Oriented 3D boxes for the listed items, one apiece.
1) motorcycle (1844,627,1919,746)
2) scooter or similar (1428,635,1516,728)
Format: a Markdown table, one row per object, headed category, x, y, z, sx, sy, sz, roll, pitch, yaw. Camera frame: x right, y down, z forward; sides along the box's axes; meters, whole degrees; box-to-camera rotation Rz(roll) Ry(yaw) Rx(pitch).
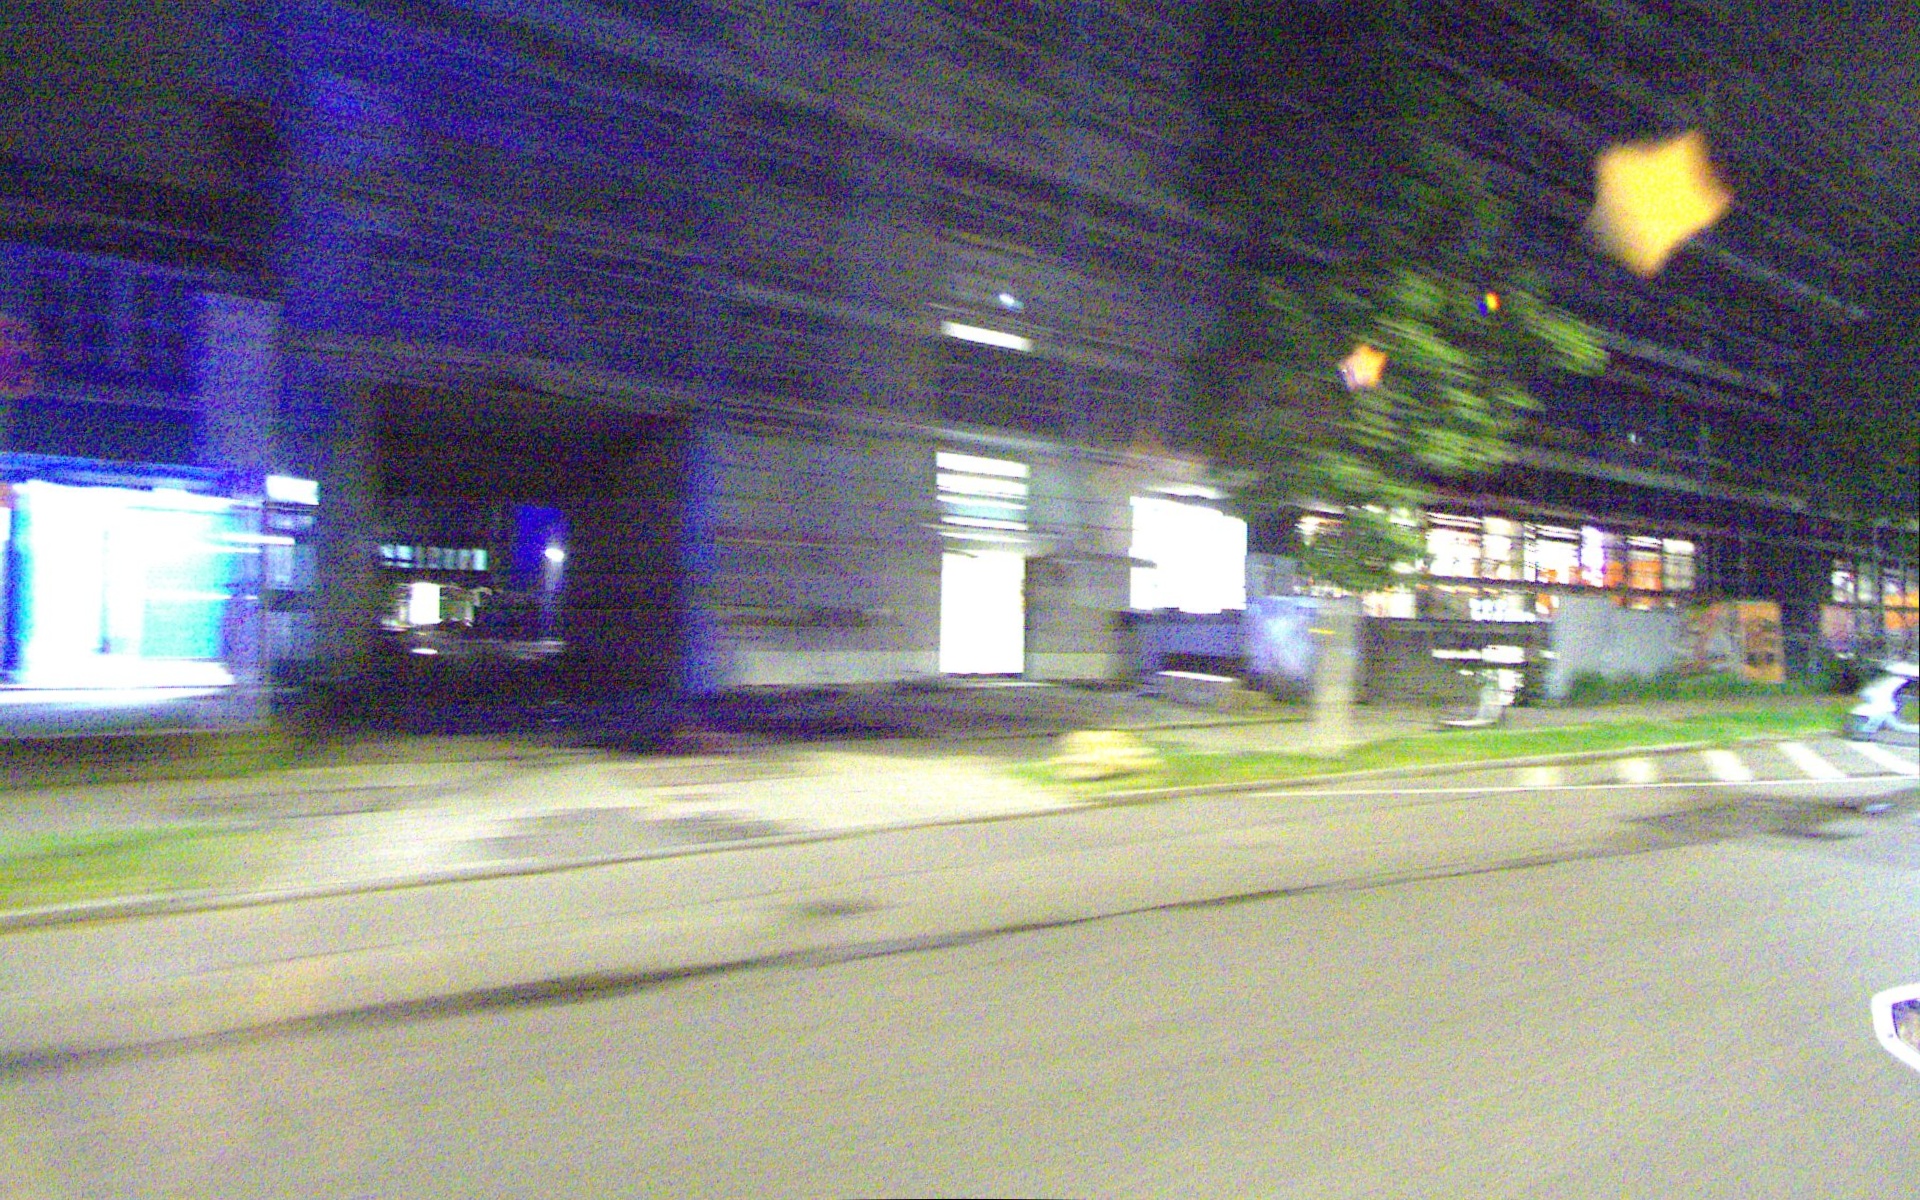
| category | x | y | z | sx | sy | sz | roll | pitch | yaw |
| --- | --- | --- | --- | --- | --- | --- | --- | --- | --- |
| motorcycle | 13.348 | 1.199 | 13.691 | 1.880 | 1.570 | 0.636 | 3 | 1 | 41 |
| scooter or similar | 7.053 | 1.114 | 13.818 | 1.411 | 1.220 | 0.365 | 2 | -2 | -31 |
